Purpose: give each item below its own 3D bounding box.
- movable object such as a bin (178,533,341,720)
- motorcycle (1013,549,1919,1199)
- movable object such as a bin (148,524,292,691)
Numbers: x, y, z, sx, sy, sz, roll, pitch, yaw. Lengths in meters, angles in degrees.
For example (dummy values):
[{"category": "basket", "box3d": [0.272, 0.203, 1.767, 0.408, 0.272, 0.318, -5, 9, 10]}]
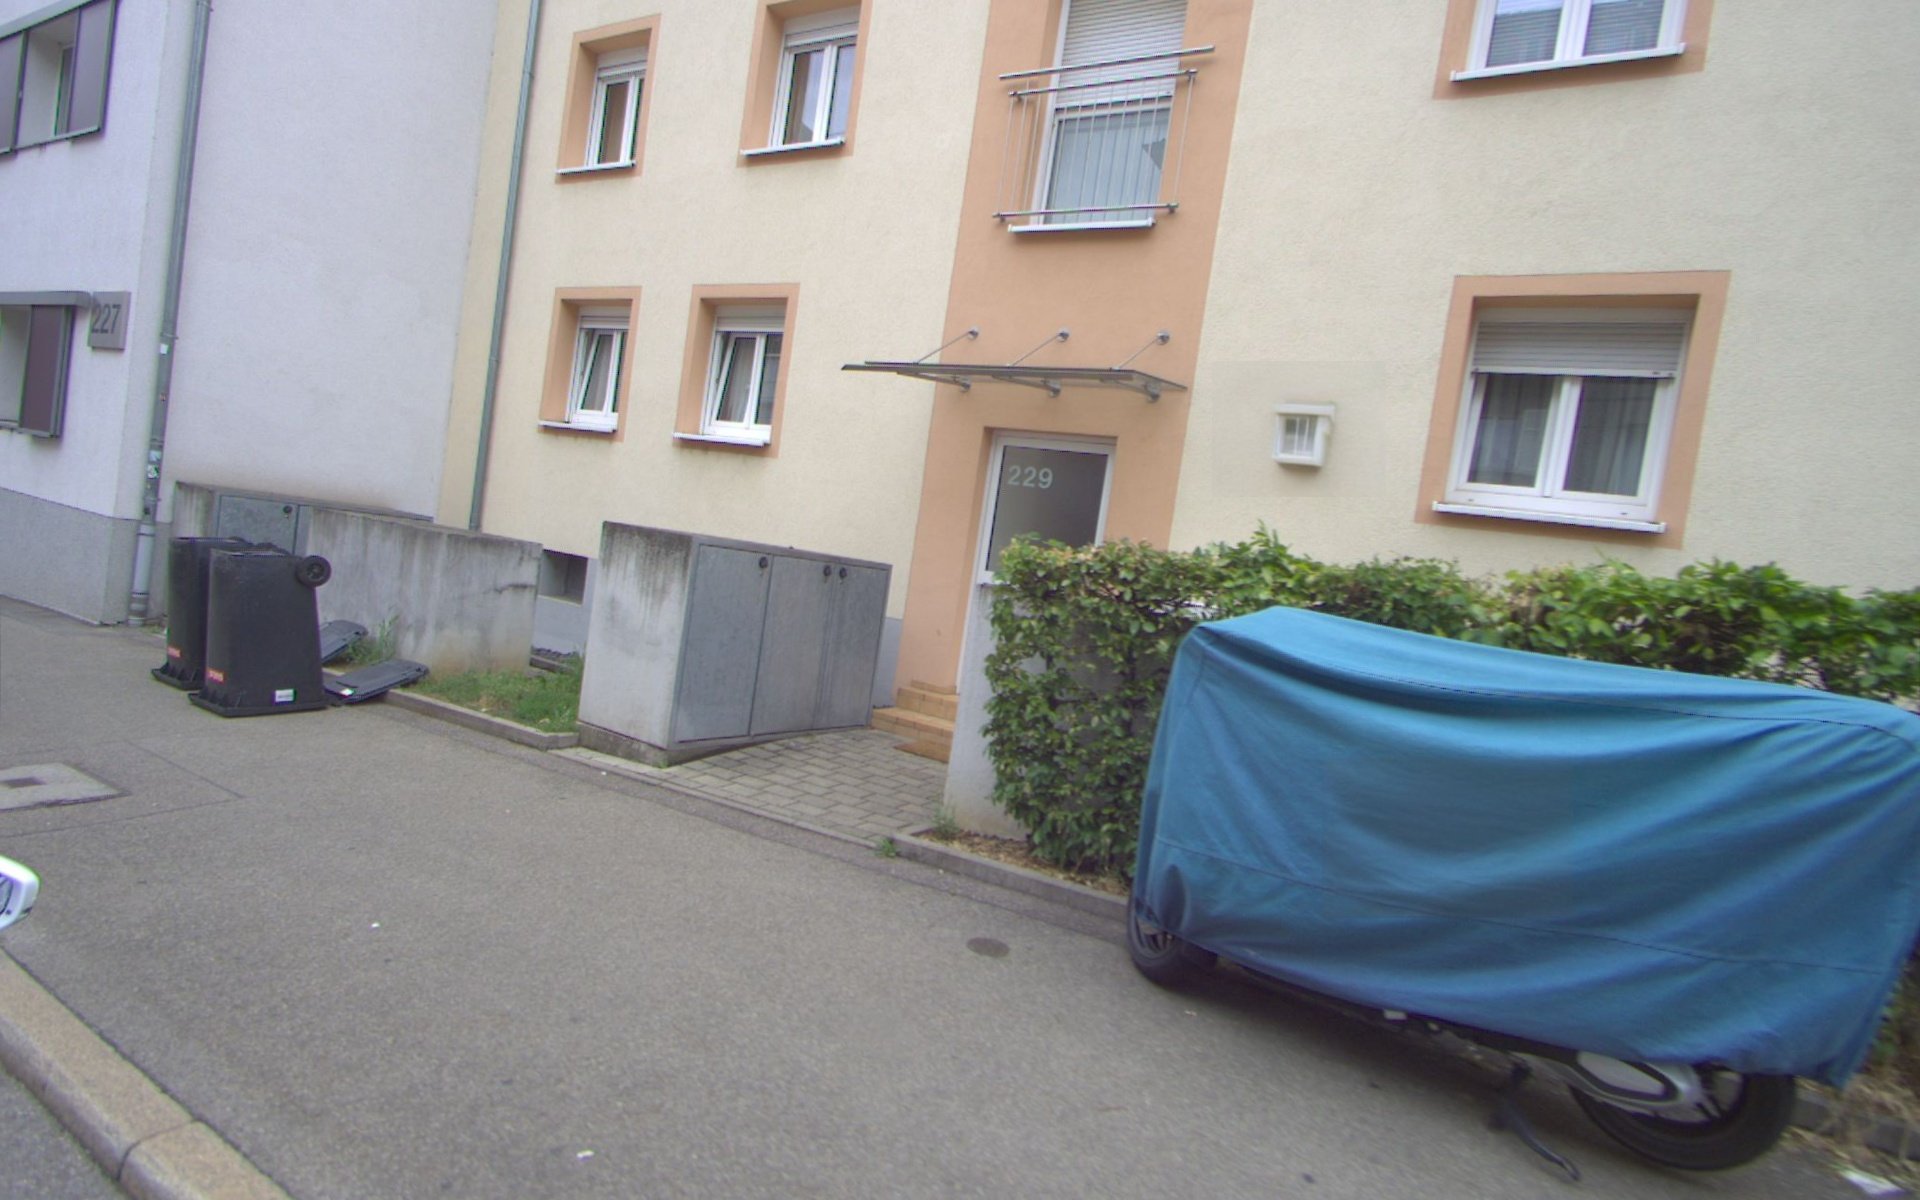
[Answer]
[{"category": "movable object such as a bin", "box3d": [-4.551, 0.169, 6.543, 0.680, 1.094, 0.589, 8, 2, 33]}, {"category": "motorcycle", "box3d": [1.529, 0.730, 2.971, 2.510, 1.475, 0.839, 8, 2, 32]}, {"category": "movable object such as a bin", "box3d": [-5.273, 0.056, 7.180, 0.532, 1.094, 0.611, 8, 2, 33]}]
